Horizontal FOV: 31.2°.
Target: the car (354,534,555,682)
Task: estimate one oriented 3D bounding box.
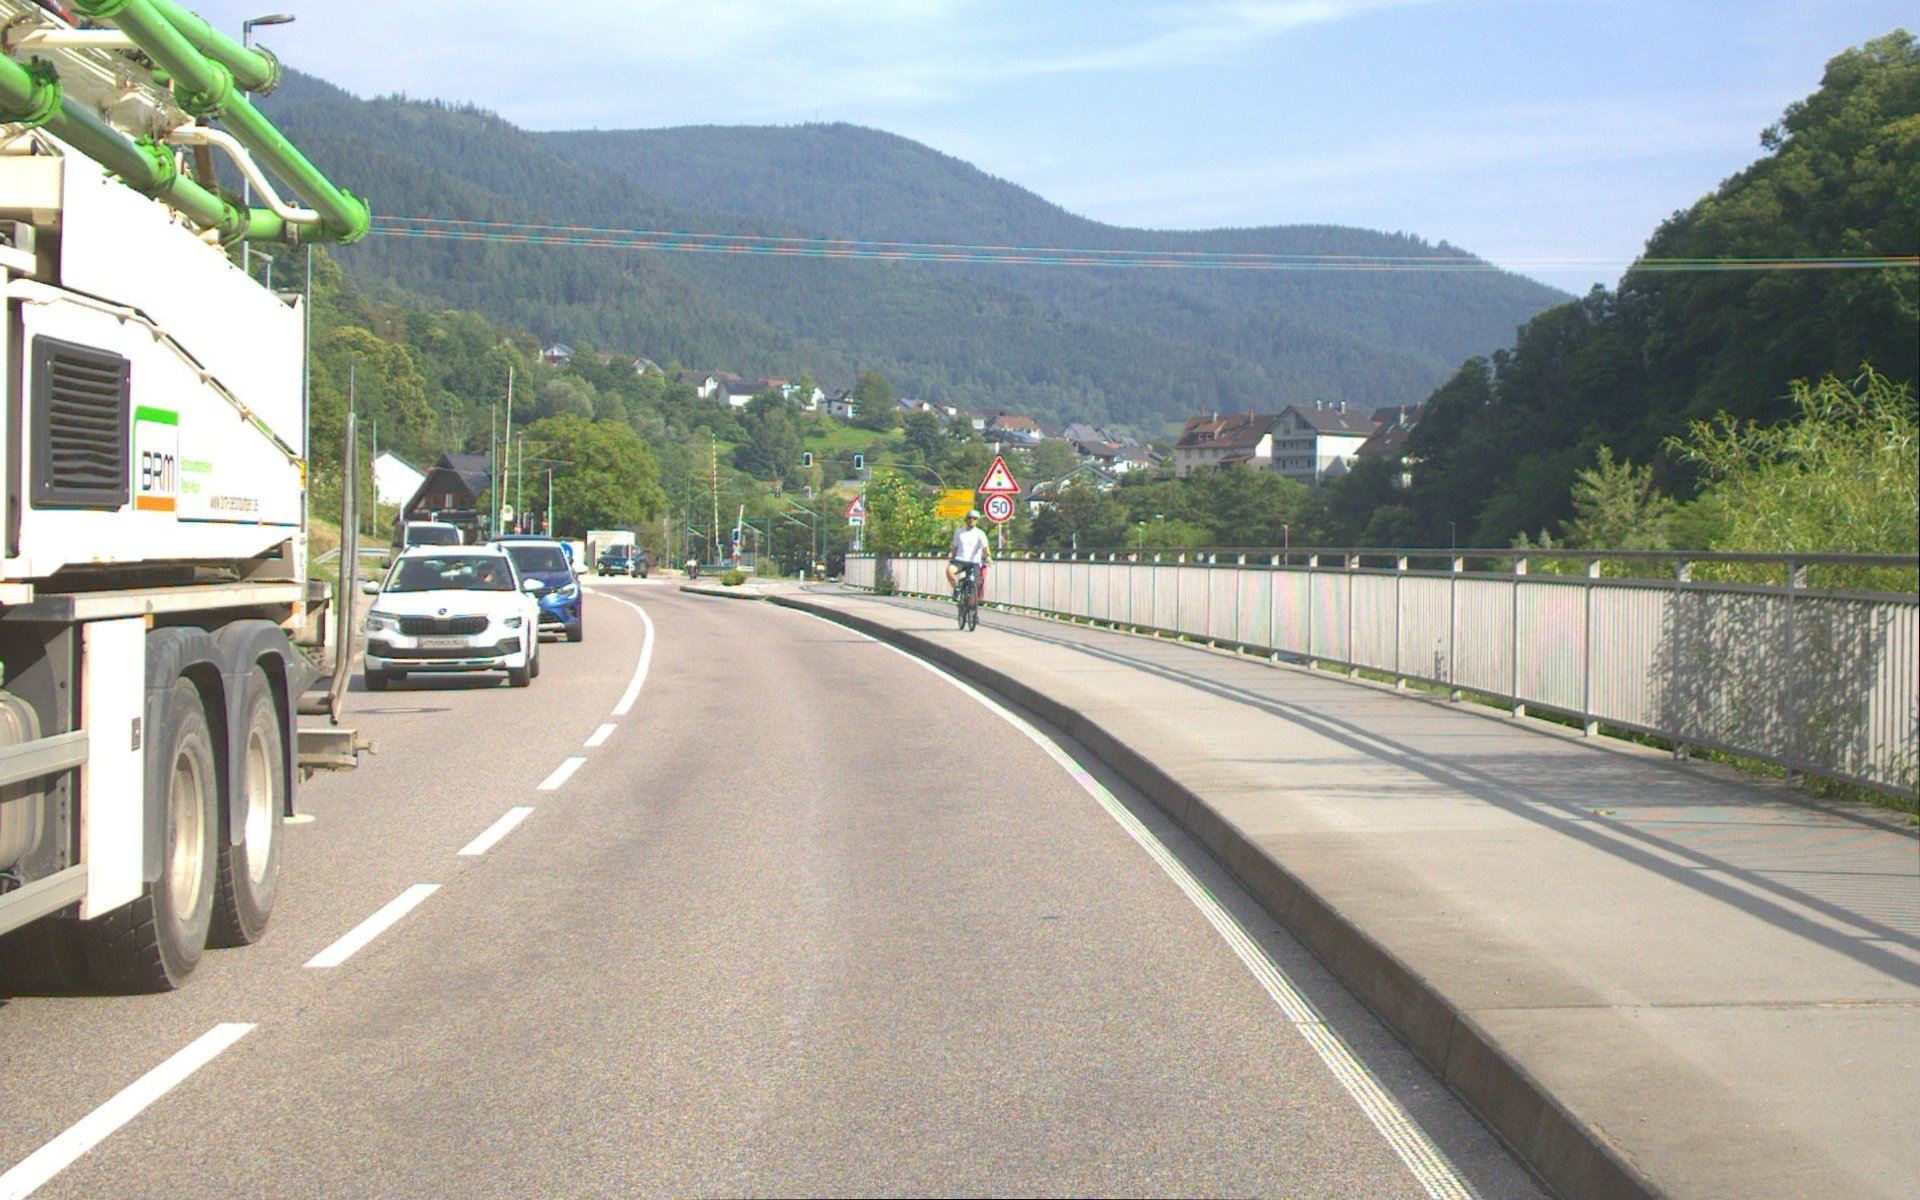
[{"bbox_3d":[-5.497,0.051,37.810,1.749,1.499,4.191,1,1,-3],"label":"car"}]

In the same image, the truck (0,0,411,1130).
[{"bbox_3d":[-3.793,-0.603,10.363,2.578,3.918,11.306,0,1,-1],"label":"truck"}]

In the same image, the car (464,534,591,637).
[{"bbox_3d":[-6.725,-0.259,53.737,1.744,1.521,4.001,1,1,-4],"label":"car"}]
